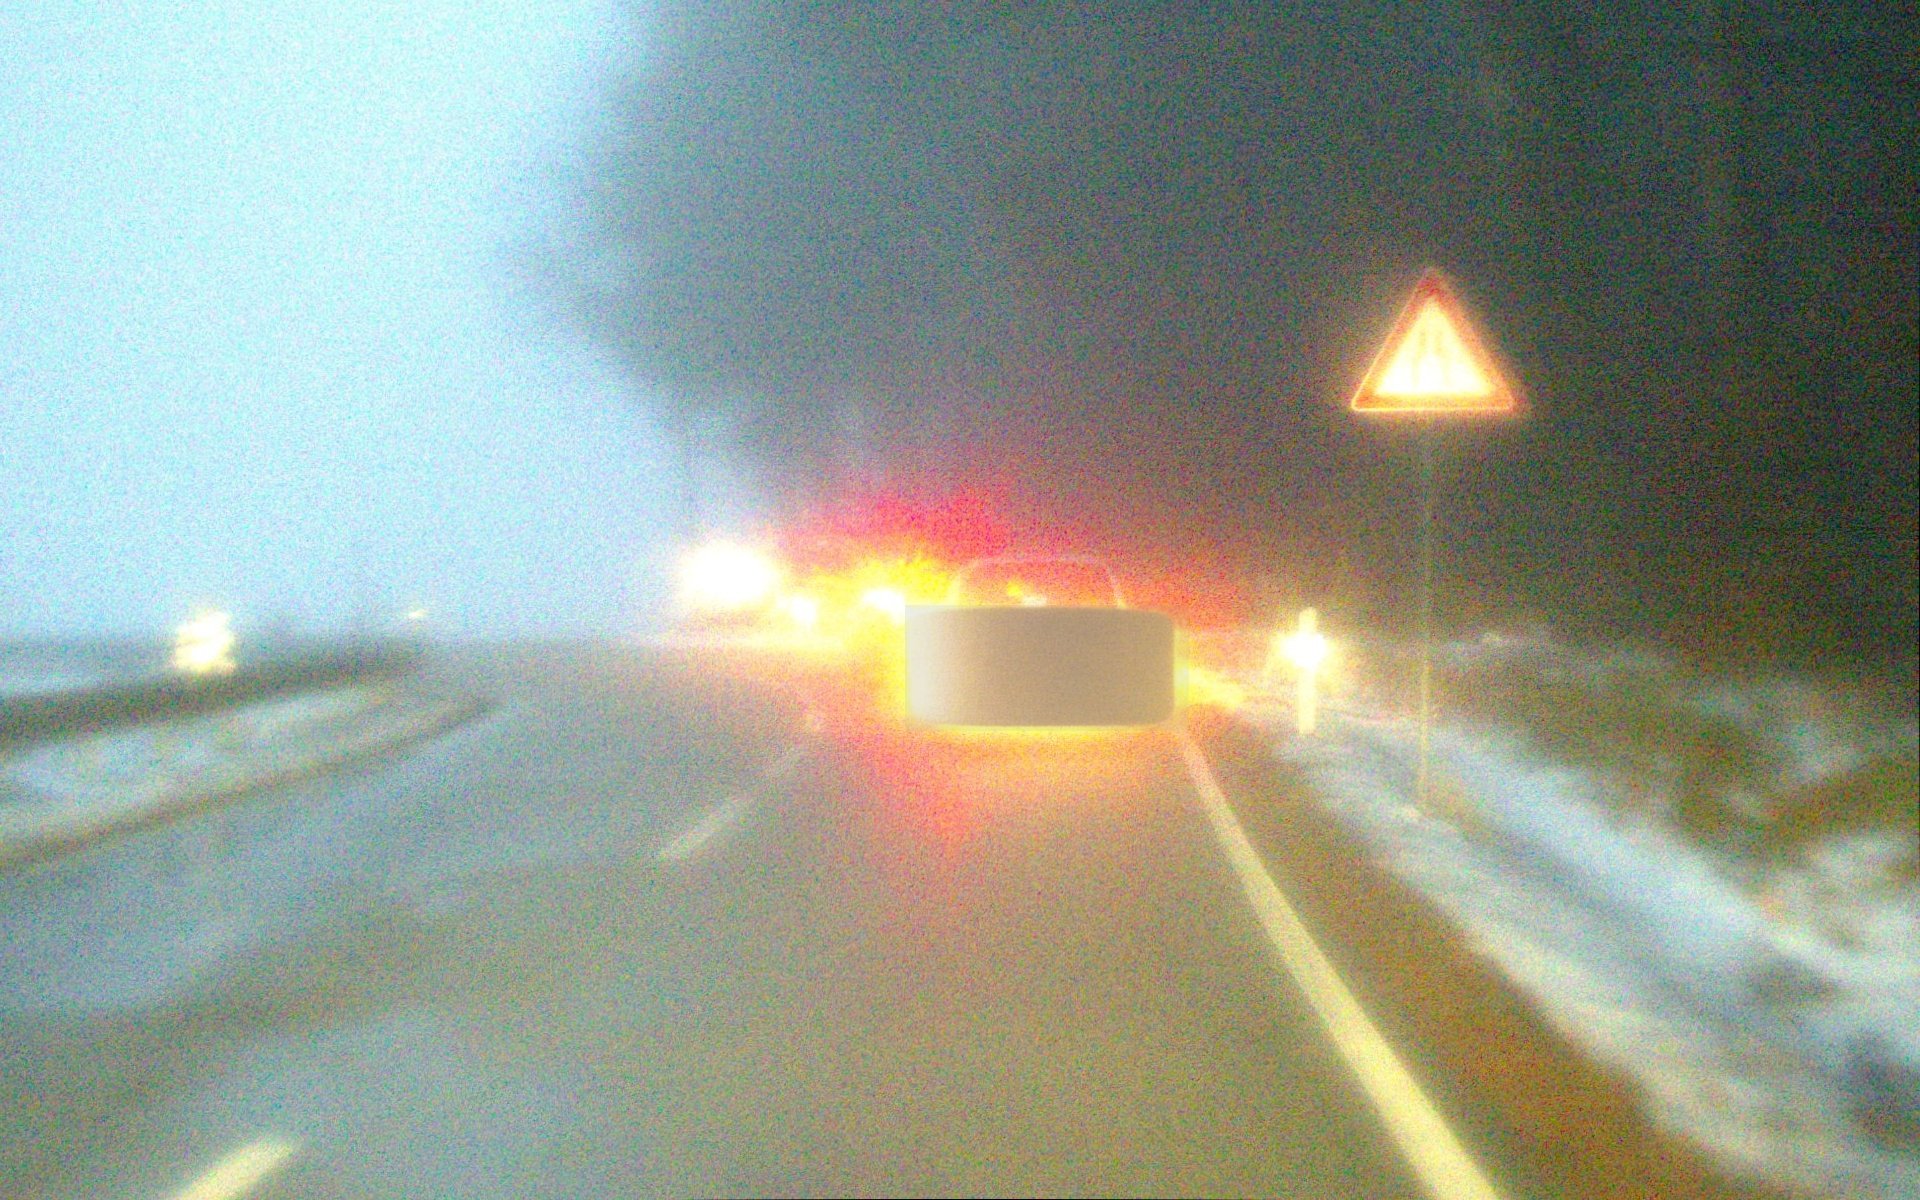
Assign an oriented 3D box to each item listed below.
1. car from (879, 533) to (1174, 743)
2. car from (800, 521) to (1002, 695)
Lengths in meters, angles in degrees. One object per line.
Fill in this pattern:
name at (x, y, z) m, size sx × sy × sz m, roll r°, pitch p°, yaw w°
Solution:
car at (0.419, 0.252, 25.849) m, size 1.945 × 1.376 × 4.000 m, roll 2°, pitch 0°, yaw -2°
car at (-0.709, 0.055, 37.934) m, size 1.993 × 1.777 × 4.001 m, roll 1°, pitch 1°, yaw -4°
